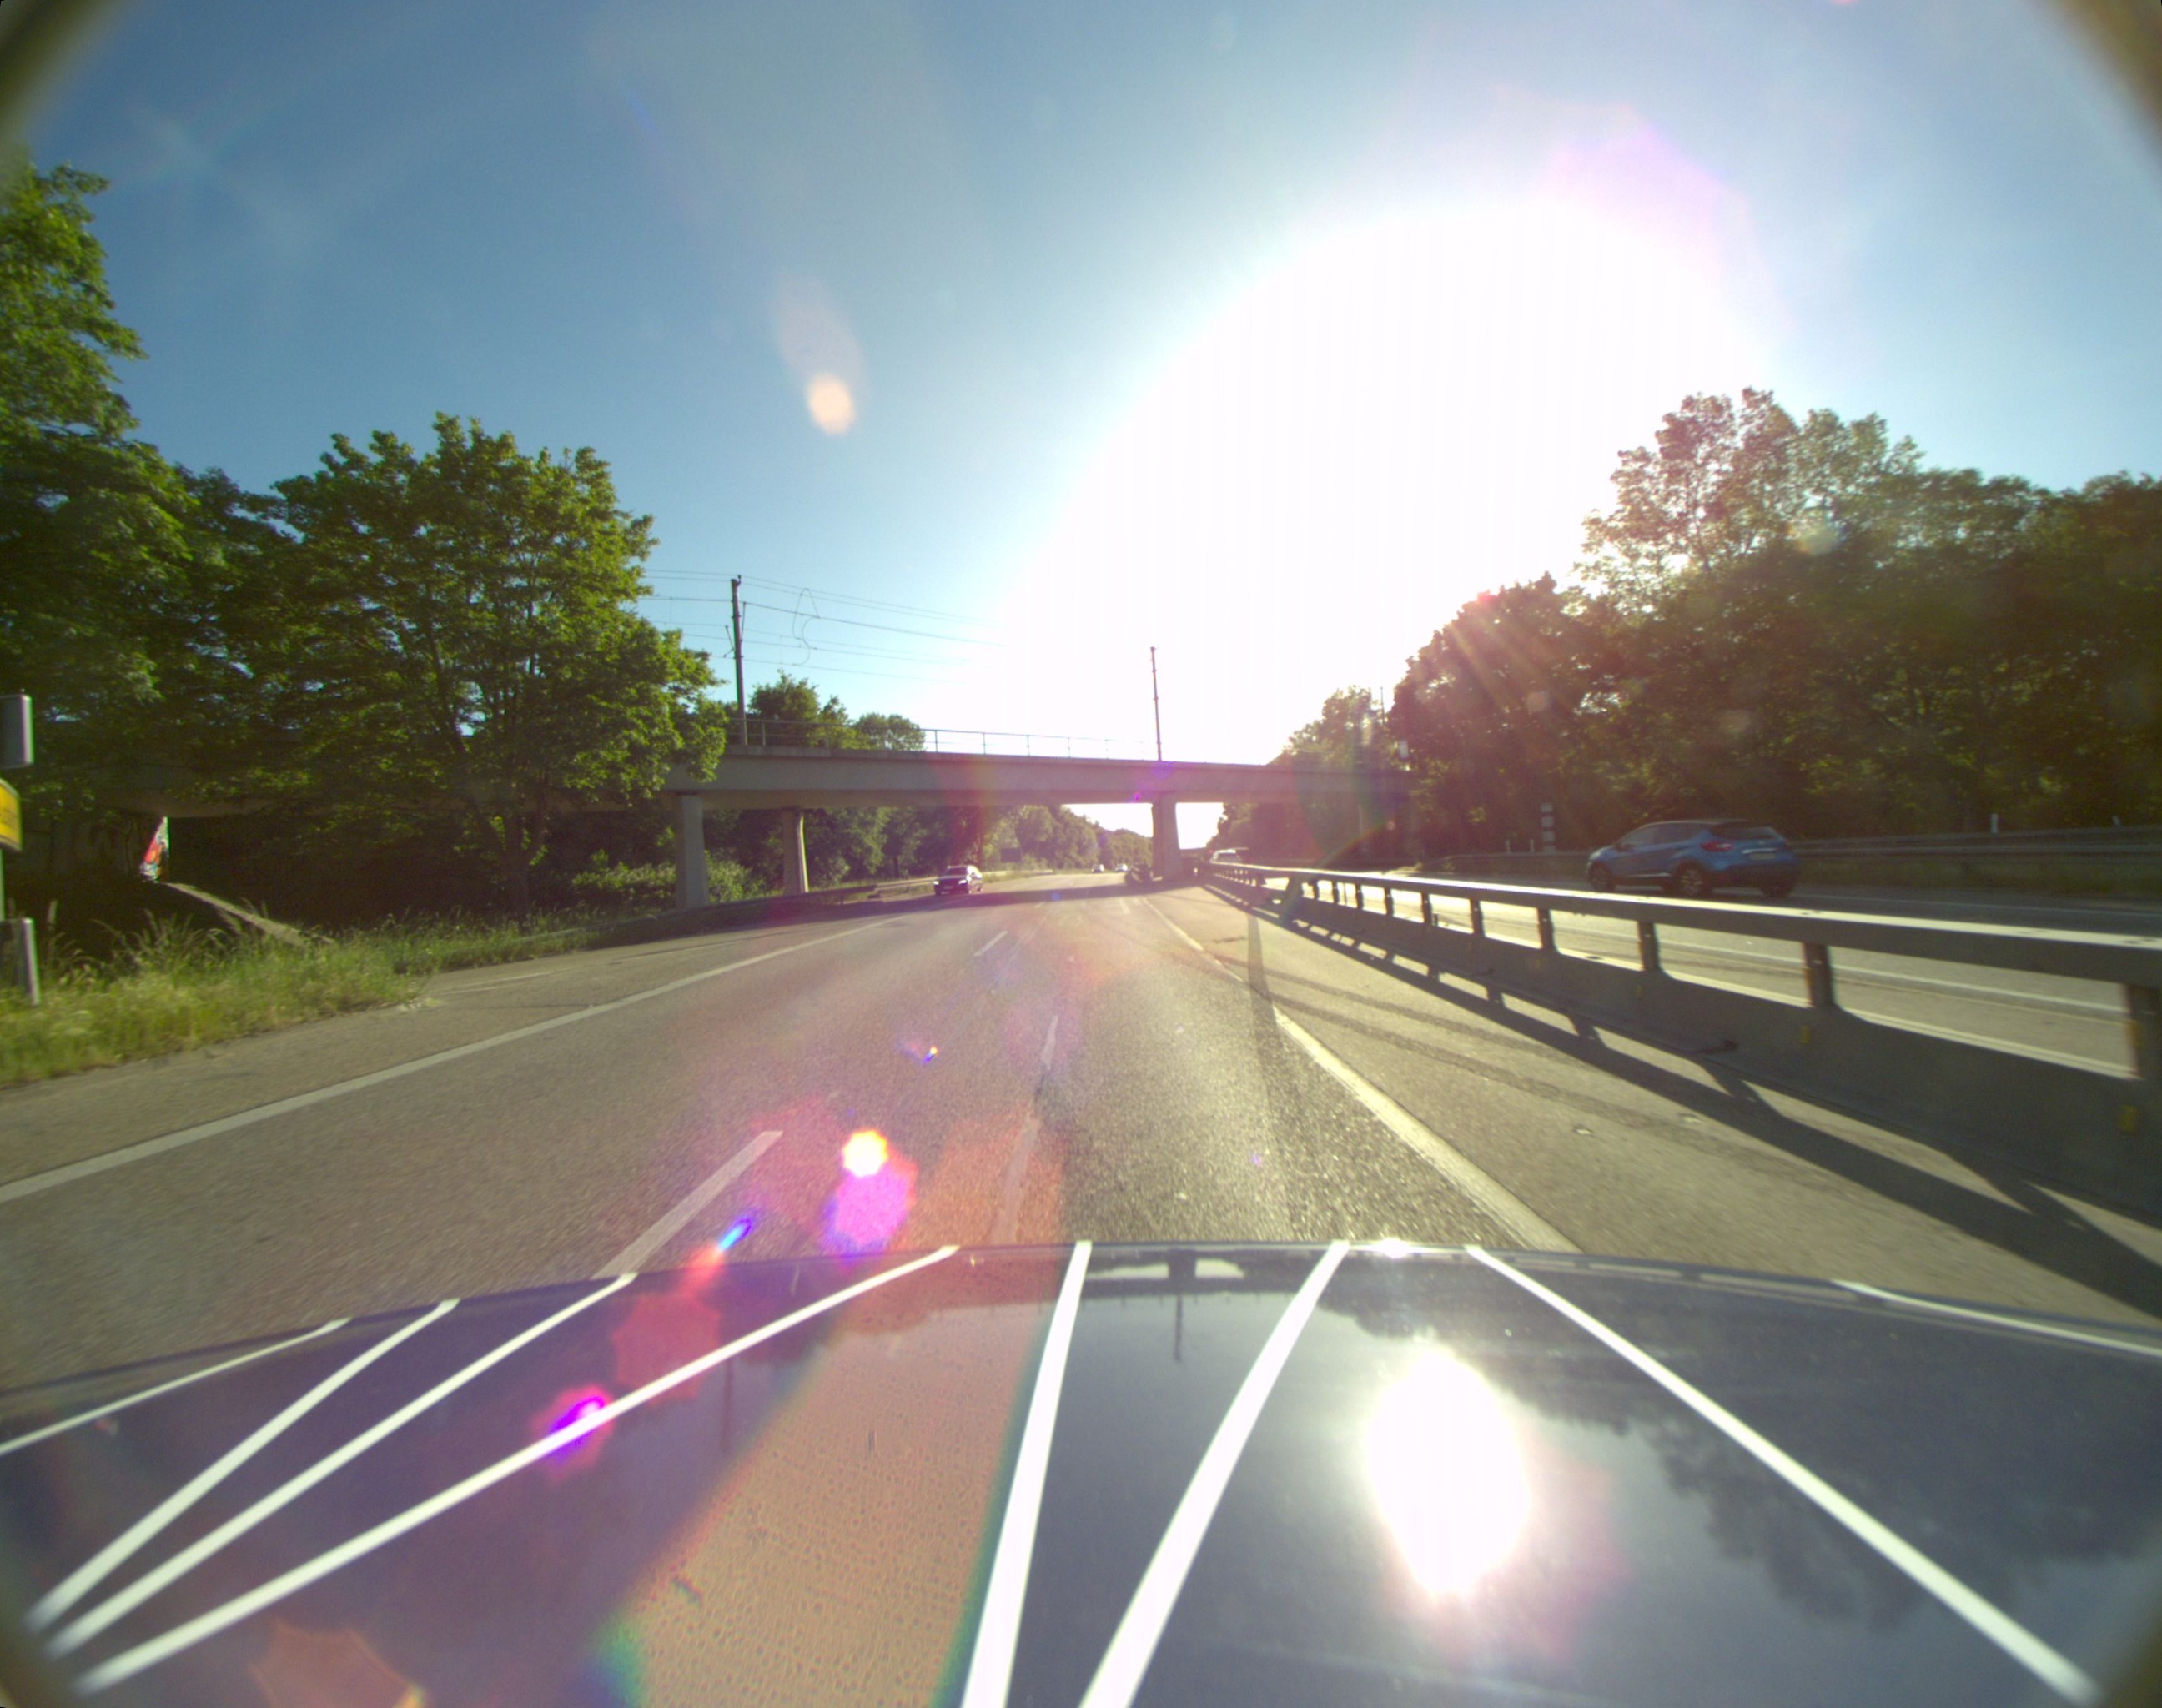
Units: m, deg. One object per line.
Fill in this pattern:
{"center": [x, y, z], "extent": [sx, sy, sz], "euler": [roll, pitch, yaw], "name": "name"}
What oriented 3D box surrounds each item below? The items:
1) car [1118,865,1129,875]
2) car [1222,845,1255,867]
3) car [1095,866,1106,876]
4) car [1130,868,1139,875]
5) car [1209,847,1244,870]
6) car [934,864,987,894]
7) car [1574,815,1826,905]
{"center": [7.181, 2.652, 127.302], "extent": [1.725, 1.412, 3.670], "euler": [-3, 0, 3], "name": "car"}
{"center": [14.385, 0.193, 69.602], "extent": [1.998, 1.899, 5.522], "euler": [-2, 0, 2], "name": "car"}
{"center": [3.337, 2.835, 127.088], "extent": [1.682, 1.412, 3.670], "euler": [-3, 0, 2], "name": "car"}
{"center": [11.629, 3.755, 164.624], "extent": [1.725, 1.412, 3.671], "euler": [-3, 0, 5], "name": "car"}
{"center": [10.565, 0.347, 55.599], "extent": [1.791, 1.569, 4.533], "euler": [-2, 0, 2], "name": "car"}
{"center": [-6.279, 1.280, 40.056], "extent": [1.762, 1.401, 4.057], "euler": [-3, 0, 5], "name": "car"}
{"center": [12.539, 0.106, 15.830], "extent": [1.677, 1.563, 4.321], "euler": [-2, 0, 0], "name": "car"}
